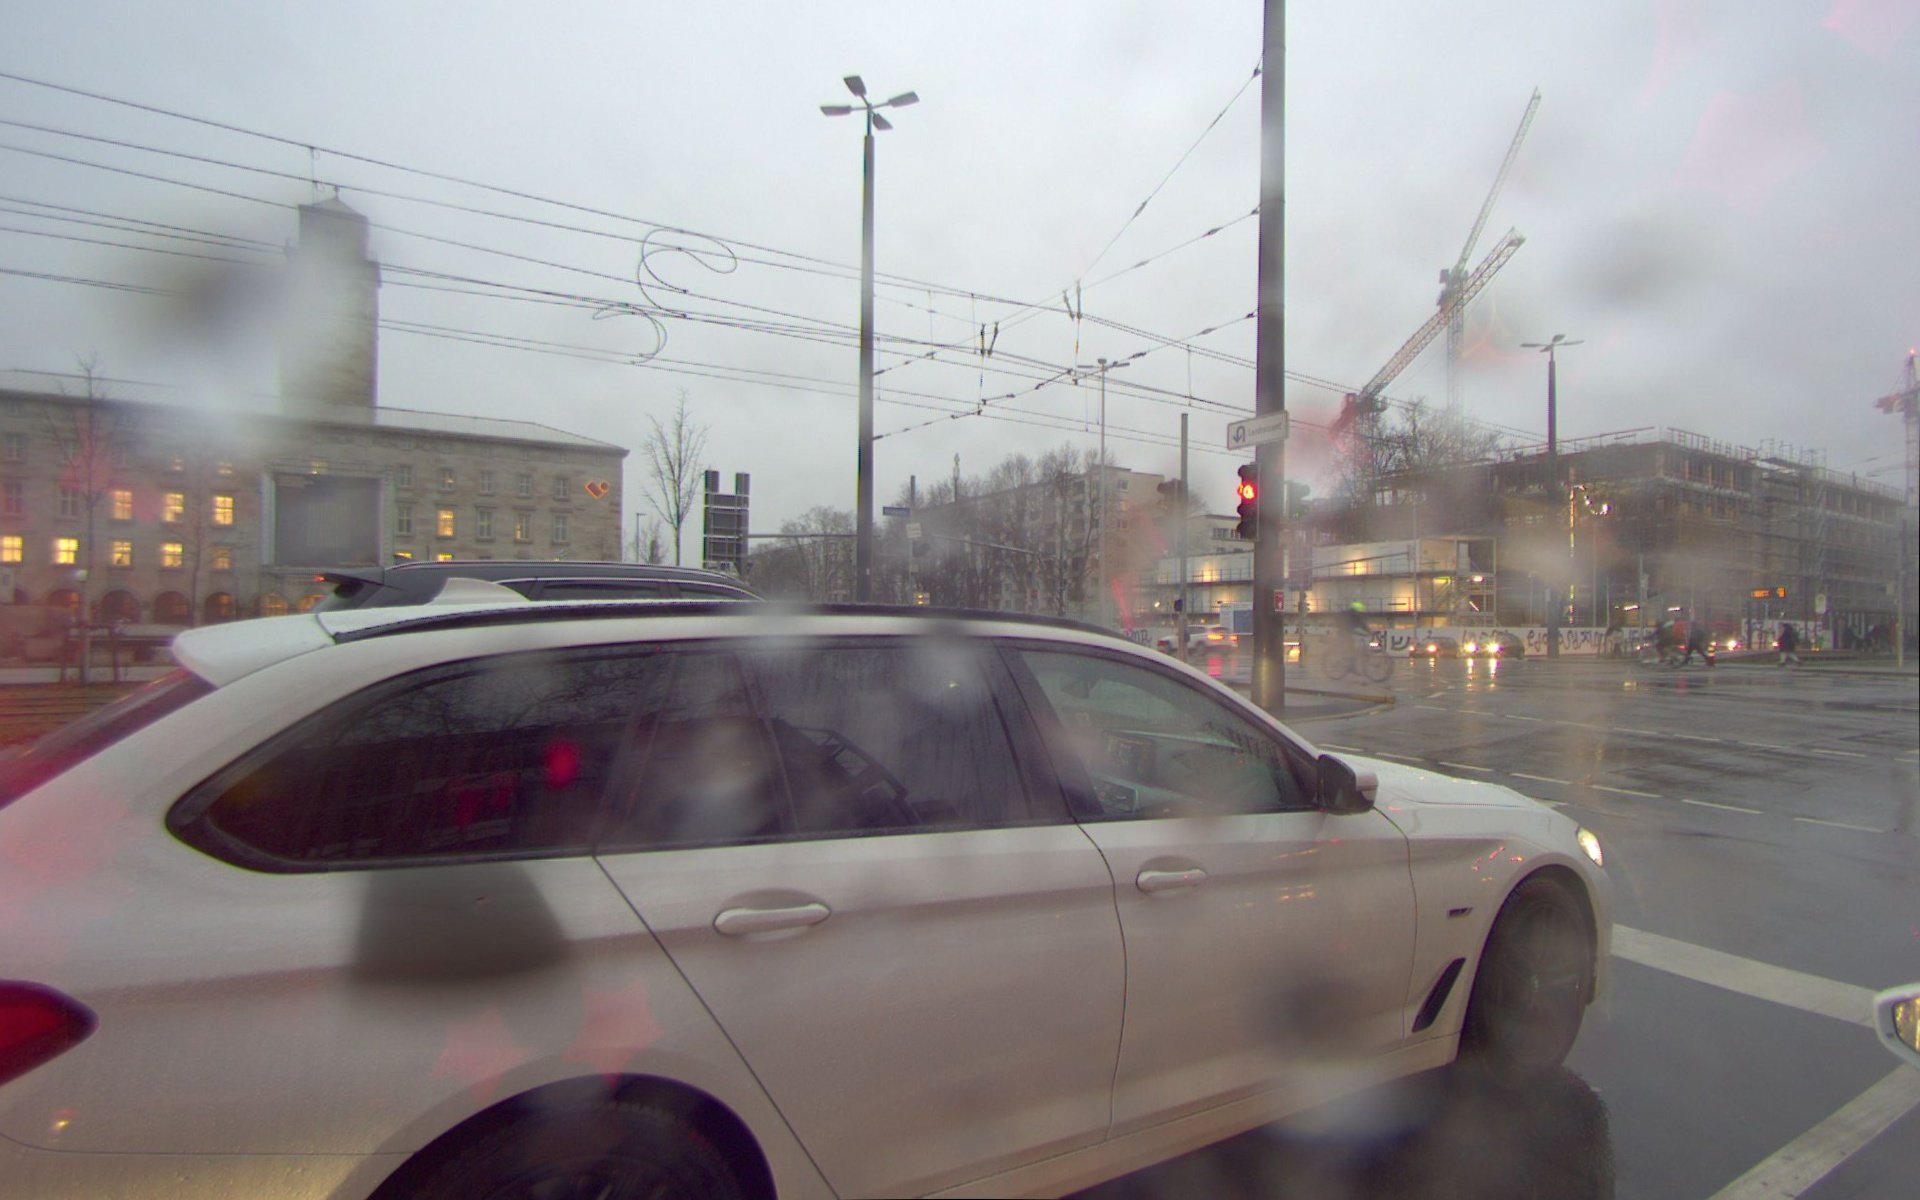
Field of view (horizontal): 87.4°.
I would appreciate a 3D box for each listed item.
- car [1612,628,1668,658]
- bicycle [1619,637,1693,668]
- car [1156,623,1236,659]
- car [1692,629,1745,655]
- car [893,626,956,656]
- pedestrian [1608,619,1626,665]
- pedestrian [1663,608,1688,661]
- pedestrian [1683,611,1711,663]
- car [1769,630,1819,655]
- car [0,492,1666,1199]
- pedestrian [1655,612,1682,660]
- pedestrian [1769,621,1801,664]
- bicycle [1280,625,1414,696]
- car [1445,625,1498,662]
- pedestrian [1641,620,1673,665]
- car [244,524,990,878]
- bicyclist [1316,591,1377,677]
[{"bbox_3d":[48.122,3.040,71.077,3.959,2.040,1.981,2,-2,-34],"label":"car"},{"bbox_3d":[24.816,1.870,35.854,0.537,1.004,2.111,7,-5,-39],"label":"bicycle"},{"bbox_3d":[12.173,2.112,52.047,1.685,1.785,4.286,1,-2,-28],"label":"car"},{"bbox_3d":[60.298,3.342,79.839,3.953,2.040,1.984,2,-2,-30],"label":"car"},{"bbox_3d":[-2.133,2.407,59.333,1.978,1.706,3.965,1,-2,-33],"label":"car"},{"bbox_3d":[29.704,1.894,45.404,0.635,2.040,0.503,1,-1,-40],"label":"pedestrian"},{"bbox_3d":[28.718,1.375,40.300,0.674,2.115,0.613,0,-1,20],"label":"pedestrian"},{"bbox_3d":[29.581,1.481,40.341,0.762,2.040,0.613,0,-1,22],"label":"pedestrian"},{"bbox_3d":[69.916,3.588,84.169,3.953,2.040,1.984,2,-2,-30],"label":"car"},{"bbox_3d":[-0.117,0.699,3.002,4.868,1.540,1.900,2,-2,-32],"label":"car"},{"bbox_3d":[30.604,1.553,43.370,0.741,2.040,0.785,2,-2,-40],"label":"pedestrian"},{"bbox_3d":[32.266,1.651,39.301,0.668,1.640,0.708,1,-1,-7],"label":"pedestrian"},{"bbox_3d":[8.626,1.319,22.541,0.714,1.380,2.808,2,0,-38],"label":"bicycle"},{"bbox_3d":[28.981,2.427,56.877,1.736,2.040,3.980,-1,-2,41],"label":"car"},{"bbox_3d":[24.856,1.511,35.825,0.532,1.590,0.808,3,-2,-38],"label":"pedestrian"},{"bbox_3d":[-2.133,0.576,7.013,4.564,1.766,1.692,2,-2,-34],"label":"car"},{"bbox_3d":[8.677,0.757,22.558,0.715,1.863,0.986,2,0,-39],"label":"bicyclist"}]
